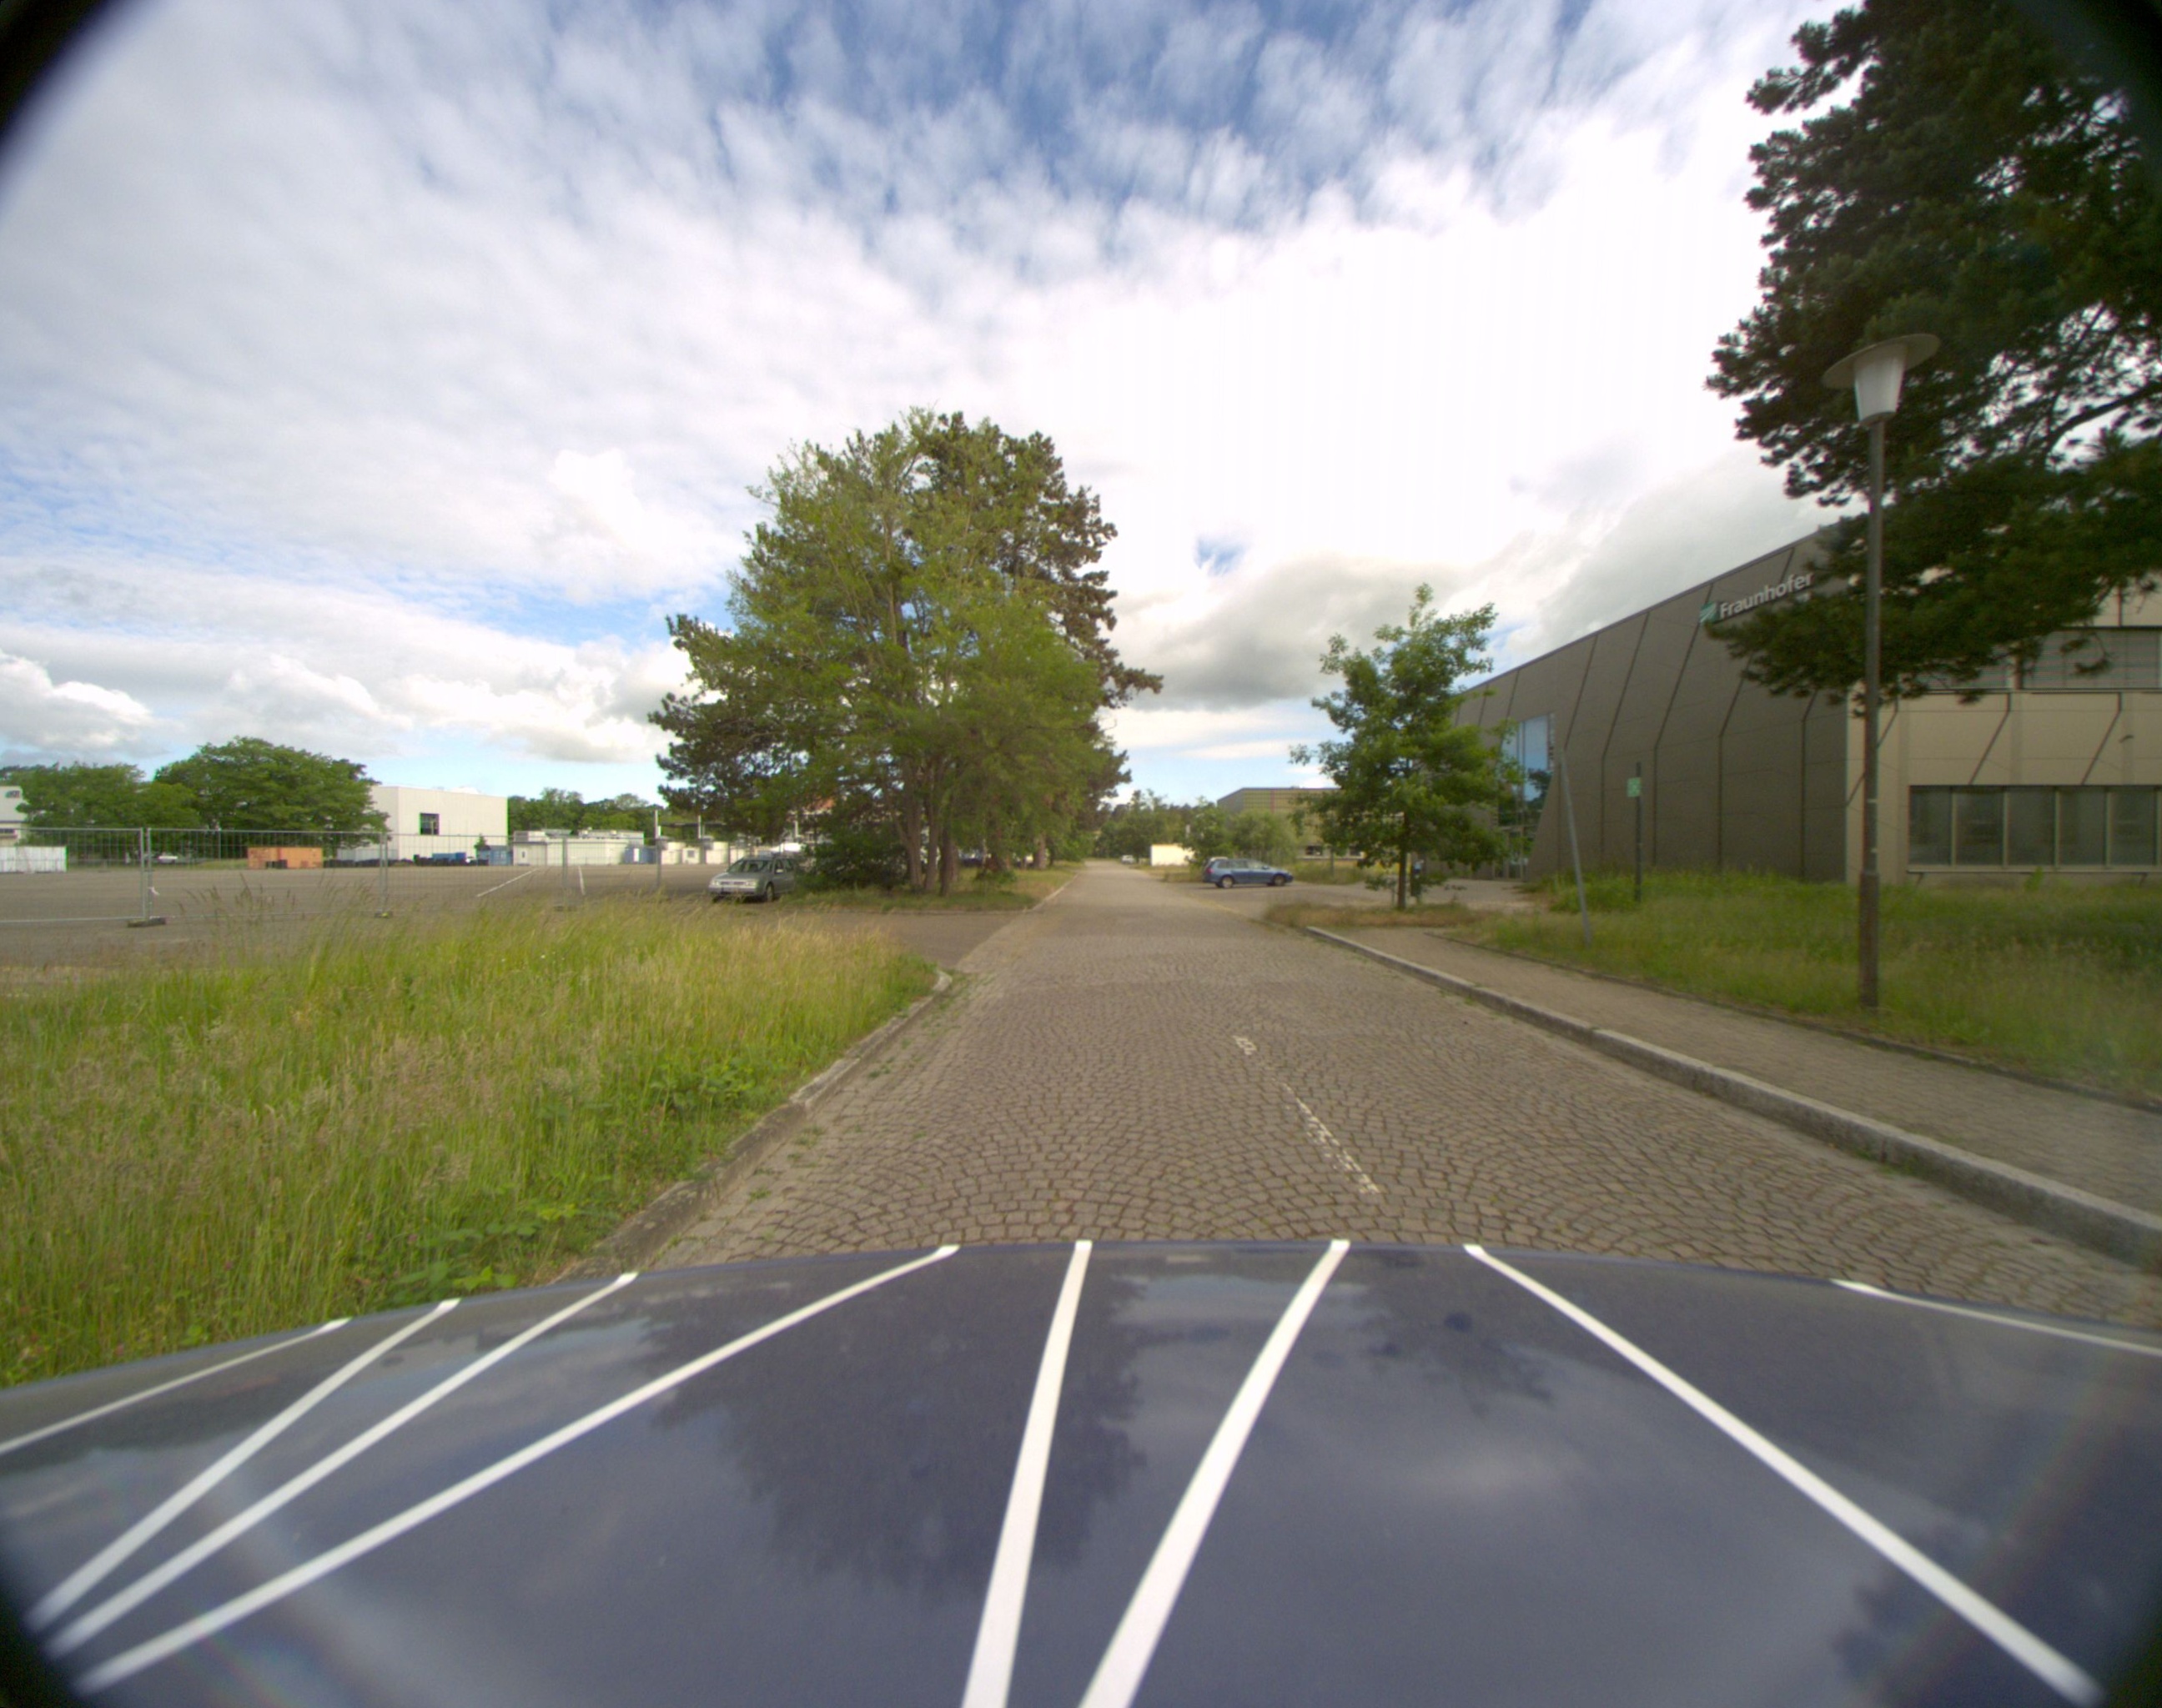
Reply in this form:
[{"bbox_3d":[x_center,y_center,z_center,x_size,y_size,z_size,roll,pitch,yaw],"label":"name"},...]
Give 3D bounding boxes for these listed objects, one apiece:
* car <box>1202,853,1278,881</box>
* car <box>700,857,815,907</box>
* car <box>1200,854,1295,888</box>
[{"bbox_3d":[9.622,0.789,46.279,4.400,1.537,1.842,-2,0,8],"label":"car"},{"bbox_3d":[-10.400,0.847,24.794,1.759,1.440,4.327,0,0,2],"label":"car"},{"bbox_3d":[8.451,0.858,38.855,4.404,1.501,1.717,-2,1,-1],"label":"car"}]
